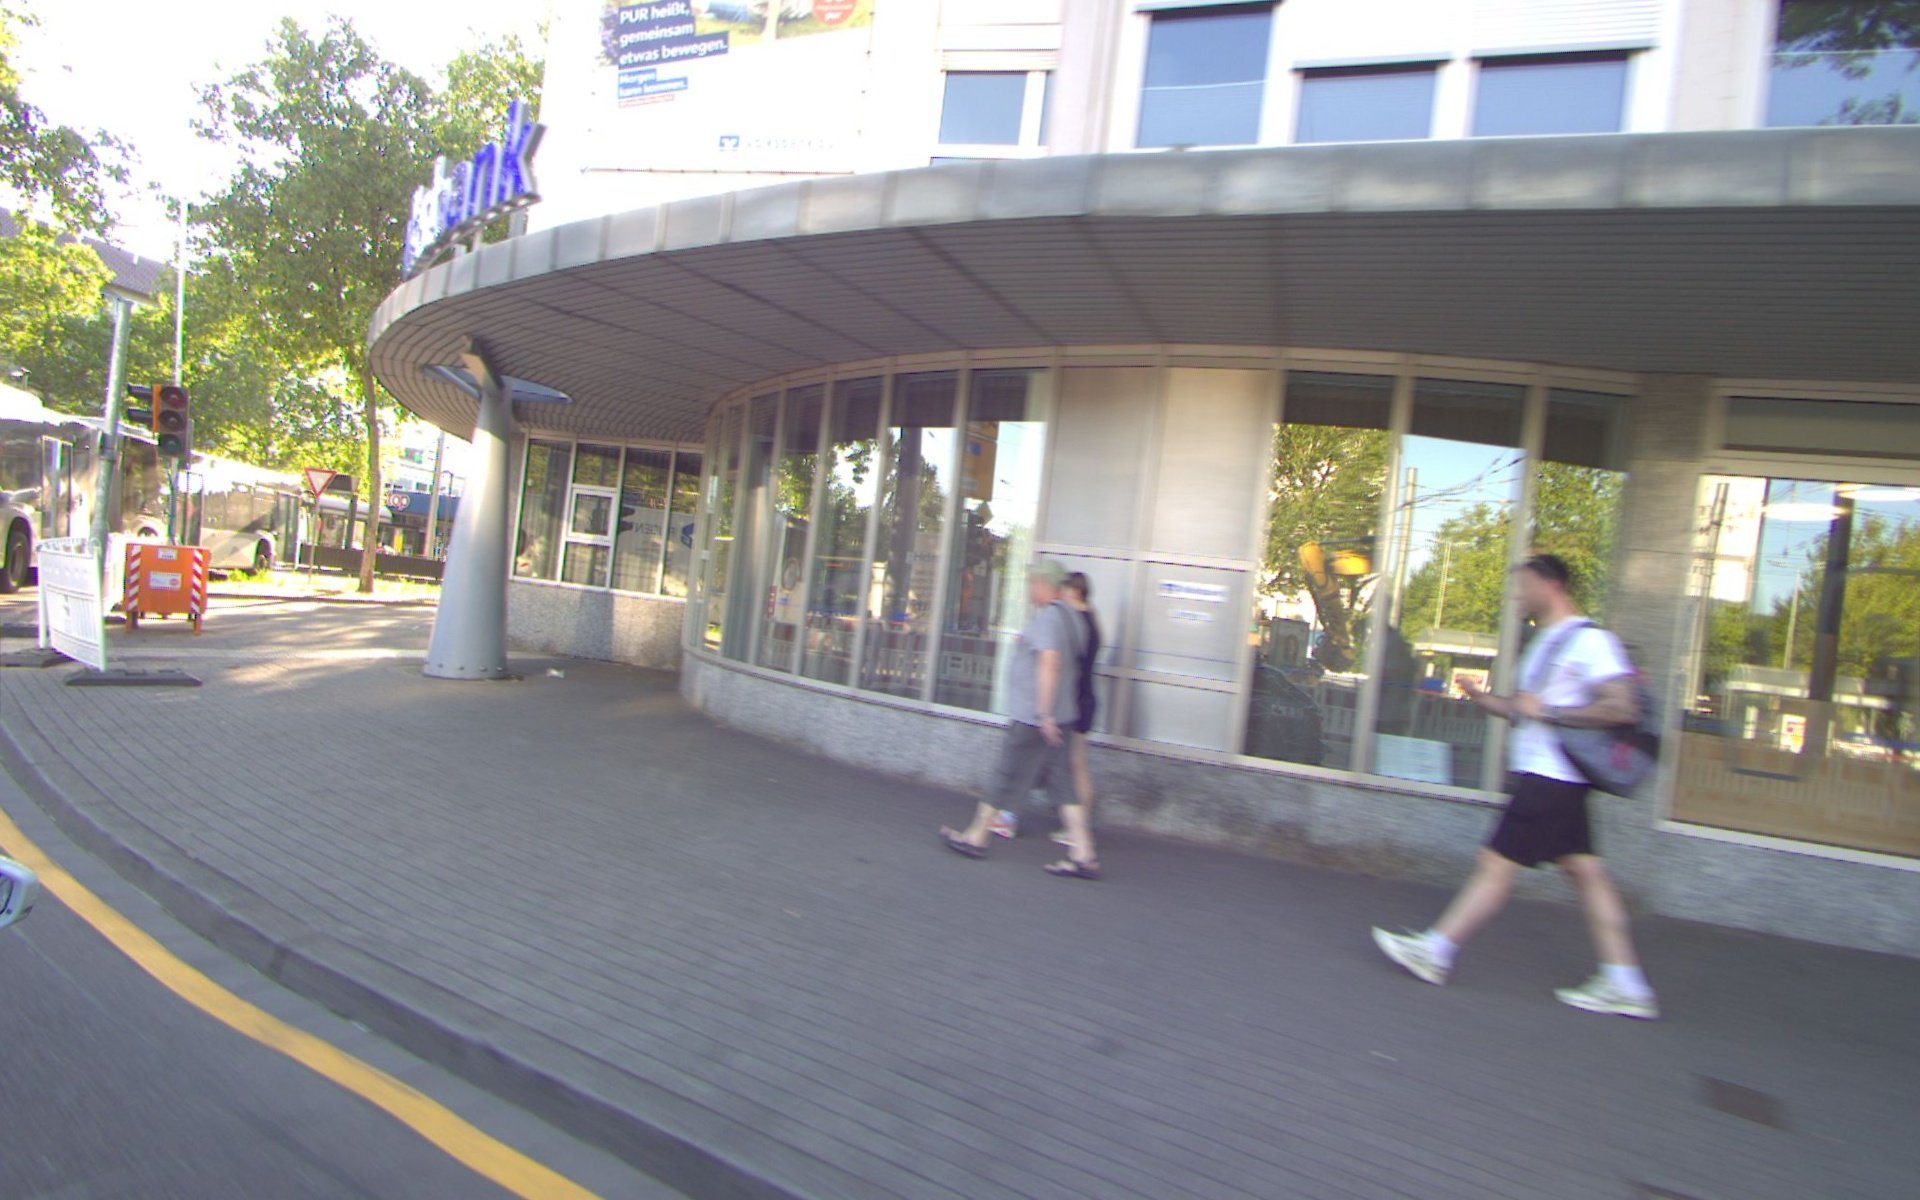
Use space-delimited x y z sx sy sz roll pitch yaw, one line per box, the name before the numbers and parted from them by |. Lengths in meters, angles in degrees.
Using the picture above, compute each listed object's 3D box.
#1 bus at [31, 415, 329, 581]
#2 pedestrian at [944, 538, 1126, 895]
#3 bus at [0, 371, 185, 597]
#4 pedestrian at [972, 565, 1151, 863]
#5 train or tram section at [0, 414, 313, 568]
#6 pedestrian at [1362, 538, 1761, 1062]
bus | -19.236 -2.267 25.703 2.676 3.145 8.947 7 0 -17
pedestrian | 0.411 0.581 5.374 0.666 1.731 0.584 7 3 18
bus | -16.097 -1.916 16.523 2.708 3.177 10.637 7 0 -25
pedestrian | 0.623 0.642 6.026 0.760 1.595 0.634 8 3 18
train or tram section | -27.910 -3.467 32.620 2.598 3.561 13.345 7 -1 13
pedestrian | 2.460 0.747 4.328 1.079 1.896 0.839 7 5 18
